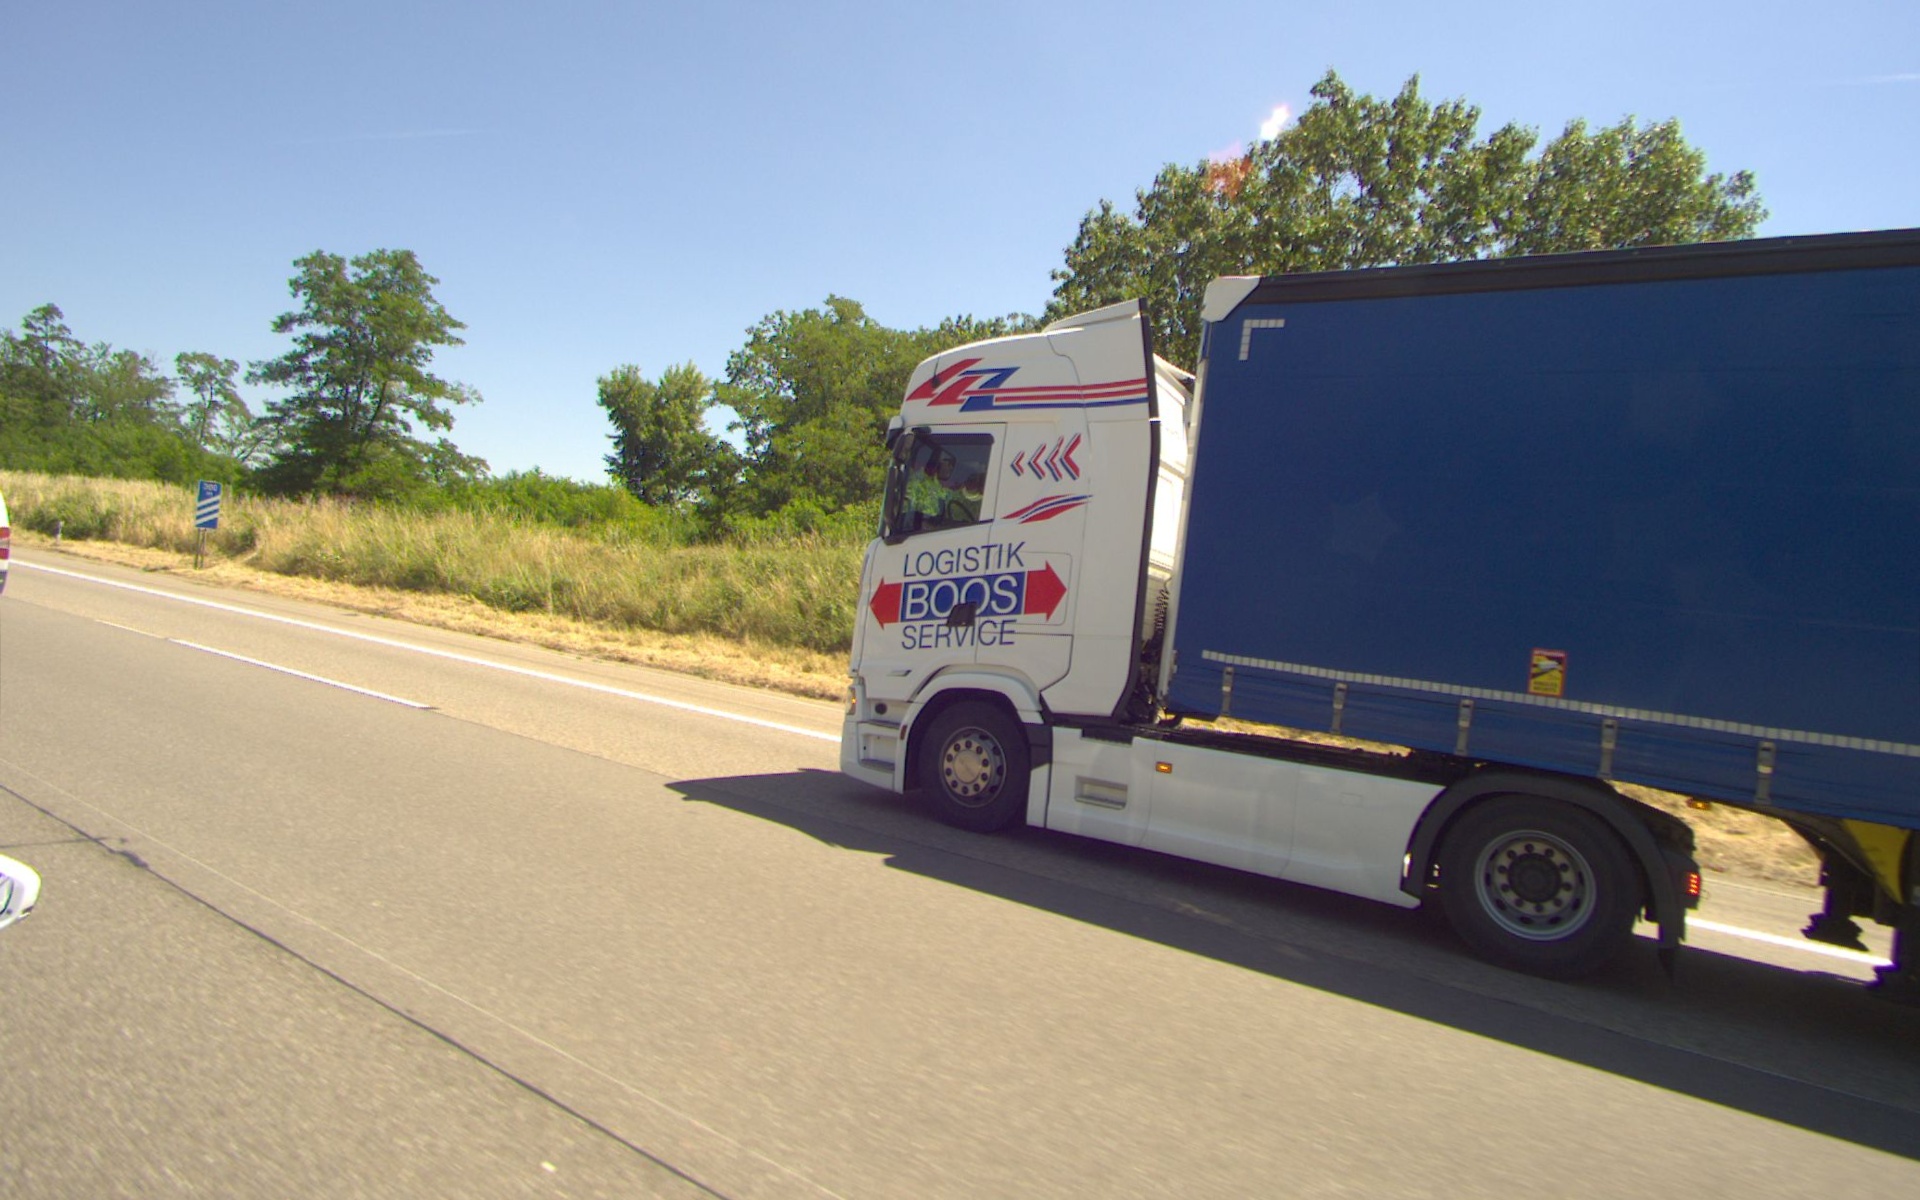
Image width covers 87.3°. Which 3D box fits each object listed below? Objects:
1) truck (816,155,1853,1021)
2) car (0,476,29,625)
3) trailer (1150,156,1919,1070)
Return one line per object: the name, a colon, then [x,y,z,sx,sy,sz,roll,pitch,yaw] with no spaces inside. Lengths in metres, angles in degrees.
truck: [2.456,-0.172,7.874,5.908,4.268,3.293,6,-2,31]
car: [-14.494,-0.905,13.293,5.026,1.849,1.817,6,-1,31]
trailer: [7.970,0.466,4.469,13.340,4.268,3.293,6,-2,32]
